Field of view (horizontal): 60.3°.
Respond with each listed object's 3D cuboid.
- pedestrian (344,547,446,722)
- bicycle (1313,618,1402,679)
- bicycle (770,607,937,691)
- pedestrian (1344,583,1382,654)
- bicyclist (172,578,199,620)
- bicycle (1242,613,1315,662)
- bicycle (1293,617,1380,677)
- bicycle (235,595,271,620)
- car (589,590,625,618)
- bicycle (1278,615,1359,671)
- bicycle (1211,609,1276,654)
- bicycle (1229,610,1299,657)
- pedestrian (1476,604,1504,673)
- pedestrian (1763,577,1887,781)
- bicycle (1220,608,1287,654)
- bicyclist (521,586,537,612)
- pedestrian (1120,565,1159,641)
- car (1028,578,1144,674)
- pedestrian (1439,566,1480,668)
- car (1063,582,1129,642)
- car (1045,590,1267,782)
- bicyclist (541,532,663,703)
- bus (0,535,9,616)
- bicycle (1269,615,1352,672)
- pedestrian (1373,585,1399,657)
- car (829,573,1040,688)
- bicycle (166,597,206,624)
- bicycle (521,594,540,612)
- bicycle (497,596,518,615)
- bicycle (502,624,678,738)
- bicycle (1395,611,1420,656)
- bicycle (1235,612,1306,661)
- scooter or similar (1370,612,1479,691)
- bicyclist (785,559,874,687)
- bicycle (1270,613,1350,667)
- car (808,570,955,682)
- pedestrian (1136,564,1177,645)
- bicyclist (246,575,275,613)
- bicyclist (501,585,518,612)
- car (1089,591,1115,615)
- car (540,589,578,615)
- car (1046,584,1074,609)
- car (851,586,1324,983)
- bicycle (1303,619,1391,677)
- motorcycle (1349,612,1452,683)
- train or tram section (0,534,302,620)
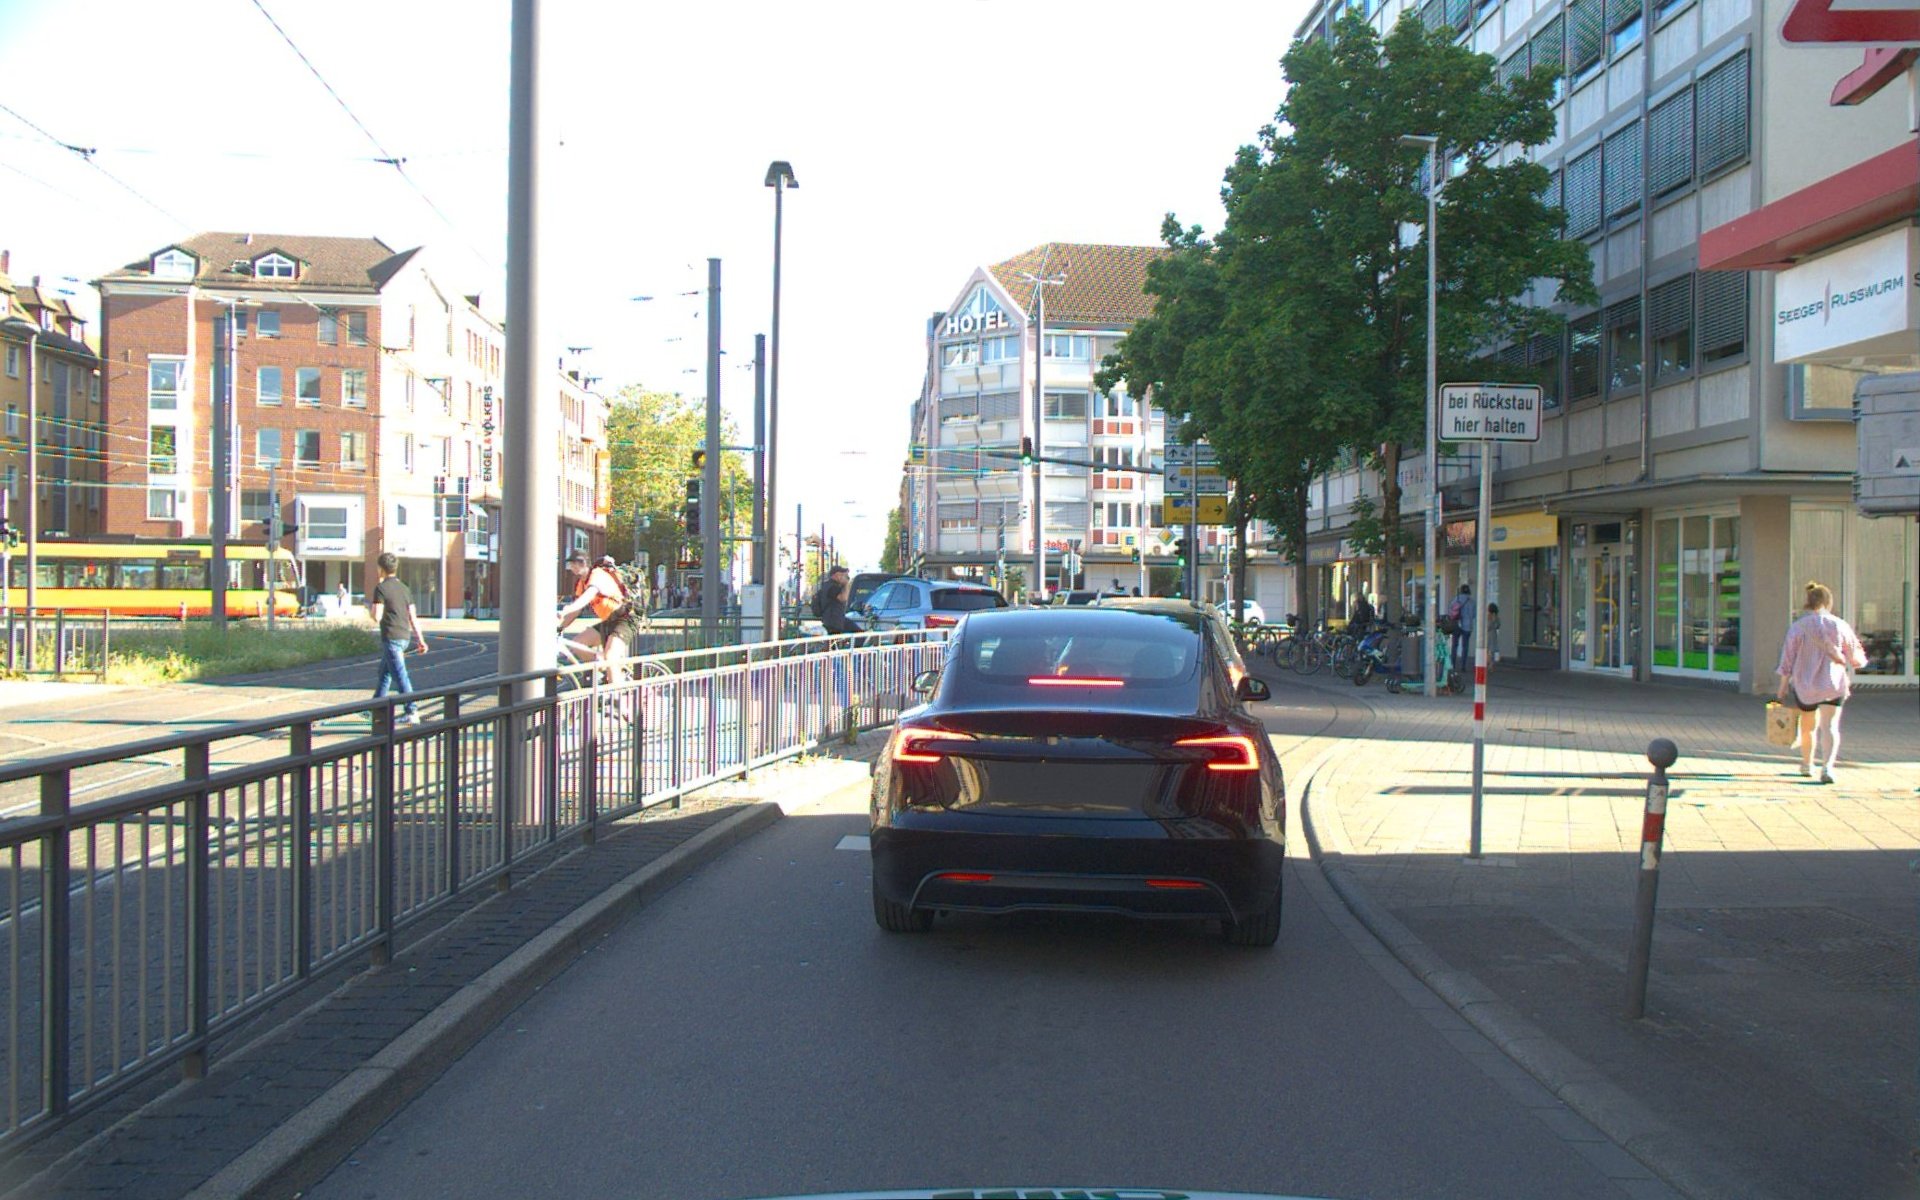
[{"bbox_3d":[-5.685,0.336,16.662,0.579,1.710,0.773,1,-1,26],"label":"pedestrian"},{"bbox_3d":[7.478,0.917,31.113,1.620,1.118,0.349,1,-1,-11],"label":"bicycle"},{"bbox_3d":[-1.422,0.655,22.385,2.313,1.072,0.622,1,-1,-39],"label":"bicycle"},{"bbox_3d":[9.727,0.445,39.950,0.685,1.691,0.777,1,-1,-1],"label":"pedestrian"},{"bbox_3d":[-28.241,-0.034,60.331,0.620,1.529,0.696,1,-1,-1],"label":"bicyclist"},{"bbox_3d":[7.382,0.864,38.386,1.616,1.118,0.350,1,-1,1],"label":"bicycle"},{"bbox_3d":[7.277,0.908,31.956,1.620,1.118,0.349,1,-1,-11],"label":"bicycle"},{"bbox_3d":[-28.464,0.317,66.609,0.513,0.988,2.246,1,0,-1],"label":"bicycle"},{"bbox_3d":[-22.538,0.272,105.778,1.663,1.762,3.704,1,0,-3],"label":"car"},{"bbox_3d":[7.417,0.892,34.181,1.620,1.118,0.349,1,-1,-11],"label":"bicycle"},{"bbox_3d":[7.292,0.799,42.565,1.616,1.118,0.350,1,-1,1],"label":"bicycle"},{"bbox_3d":[7.427,0.818,40.427,1.616,1.118,0.350,1,-1,1],"label":"bicycle"},{"bbox_3d":[10.695,0.772,33.370,0.381,1.367,0.513,1,-1,1],"label":"pedestrian"},{"bbox_3d":[7.479,0.662,14.334,0.871,1.696,0.808,1,-1,23],"label":"pedestrian"},{"bbox_3d":[7.362,0.775,41.472,1.616,1.118,0.350,0,0,1],"label":"bicycle"},{"bbox_3d":[-26.640,-0.044,102.282,0.767,1.590,0.746,0,0,1],"label":"bicyclist"},{"bbox_3d":[4.905,0.084,45.227,0.902,2.049,0.972,1,-1,-1],"label":"pedestrian"},{"bbox_3d":[2.495,0.503,33.575,1.568,1.809,3.974,1,0,-7],"label":"car"},{"bbox_3d":[10.125,0.342,33.526,0.648,2.049,0.579,1,-1,1],"label":"pedestrian"},{"bbox_3d":[4.176,0.372,51.282,1.685,1.781,3.753,1,0,-1],"label":"car"},{"bbox_3d":[1.731,0.663,15.014,1.714,1.480,4.003,1,0,6],"label":"car"},{"bbox_3d":[-3.338,0.168,15.466,1.033,1.548,0.386,1,-1,-39],"label":"bicyclist"},{"bbox_3d":[-39.580,-0.997,64.749,3.462,3.185,2.757,1,0,-18],"label":"bus"},{"bbox_3d":[7.094,0.886,33.480,1.620,1.118,0.349,1,-1,-11],"label":"bicycle"},{"bbox_3d":[10.375,0.517,40.271,0.515,1.740,0.403,1,-1,4],"label":"pedestrian"},{"bbox_3d":[-0.495,0.456,26.450,1.859,1.691,4.125,1,0,-25],"label":"car"},{"bbox_3d":[-28.246,0.384,60.390,0.437,0.988,2.246,1,0,-1],"label":"bicycle"},{"bbox_3d":[-26.651,0.195,102.676,0.518,1.107,2.284,0,0,1],"label":"bicycle"},{"bbox_3d":[-26.604,0.309,97.204,0.526,1.107,2.225,1,0,2],"label":"bicycle"},{"bbox_3d":[-3.426,0.736,15.392,1.587,1.011,0.398,1,-1,-40],"label":"bicycle"},{"bbox_3d":[10.775,0.793,39.814,0.325,1.052,1.257,1,0,3],"label":"bicycle"},{"bbox_3d":[7.398,0.865,39.413,1.616,1.118,0.350,1,-1,1],"label":"bicycle"},{"bbox_3d":[7.661,0.838,27.279,1.610,1.236,0.644,1,-1,30],"label":"scooter or similar"},{"bbox_3d":[-1.744,0.302,22.099,0.753,1.657,0.964,1,-1,-39],"label":"bicyclist"},{"bbox_3d":[7.498,0.859,35.435,1.616,1.118,0.350,1,-1,1],"label":"bicycle"},{"bbox_3d":[-1.619,0.485,32.571,1.962,2.049,3.981,0,0,-17],"label":"car"},{"bbox_3d":[5.089,0.124,42.790,0.902,2.049,0.972,1,-1,-1],"label":"pedestrian"},{"bbox_3d":[-28.425,-0.234,67.208,0.880,1.529,0.696,1,-1,-1],"label":"bicyclist"},{"bbox_3d":[-26.587,-0.085,97.573,0.767,1.590,0.747,1,-1,2],"label":"bicyclist"},{"bbox_3d":[6.877,0.161,79.828,0.902,1.119,1.869,-2,0,16],"label":"car"},{"bbox_3d":[-24.808,0.131,102.306,1.677,1.553,4.031,1,0,-5],"label":"car"},{"bbox_3d":[4.701,-0.145,77.465,0.902,1.119,1.869,1,0,16],"label":"car"},{"bbox_3d":[0.626,0.712,8.352,1.791,1.481,4.002,1,0,4],"label":"car"},{"bbox_3d":[7.382,0.909,31.533,1.620,1.079,0.349,1,-1,-11],"label":"bicycle"},{"bbox_3d":[7.807,0.839,29.356,1.673,1.194,0.541,1,-1,-3],"label":"motorcycle"},{"bbox_3d":[-32.897,-0.871,67.532,11.081,3.185,2.784,1,0,-24],"label":"train or tram section"}]
